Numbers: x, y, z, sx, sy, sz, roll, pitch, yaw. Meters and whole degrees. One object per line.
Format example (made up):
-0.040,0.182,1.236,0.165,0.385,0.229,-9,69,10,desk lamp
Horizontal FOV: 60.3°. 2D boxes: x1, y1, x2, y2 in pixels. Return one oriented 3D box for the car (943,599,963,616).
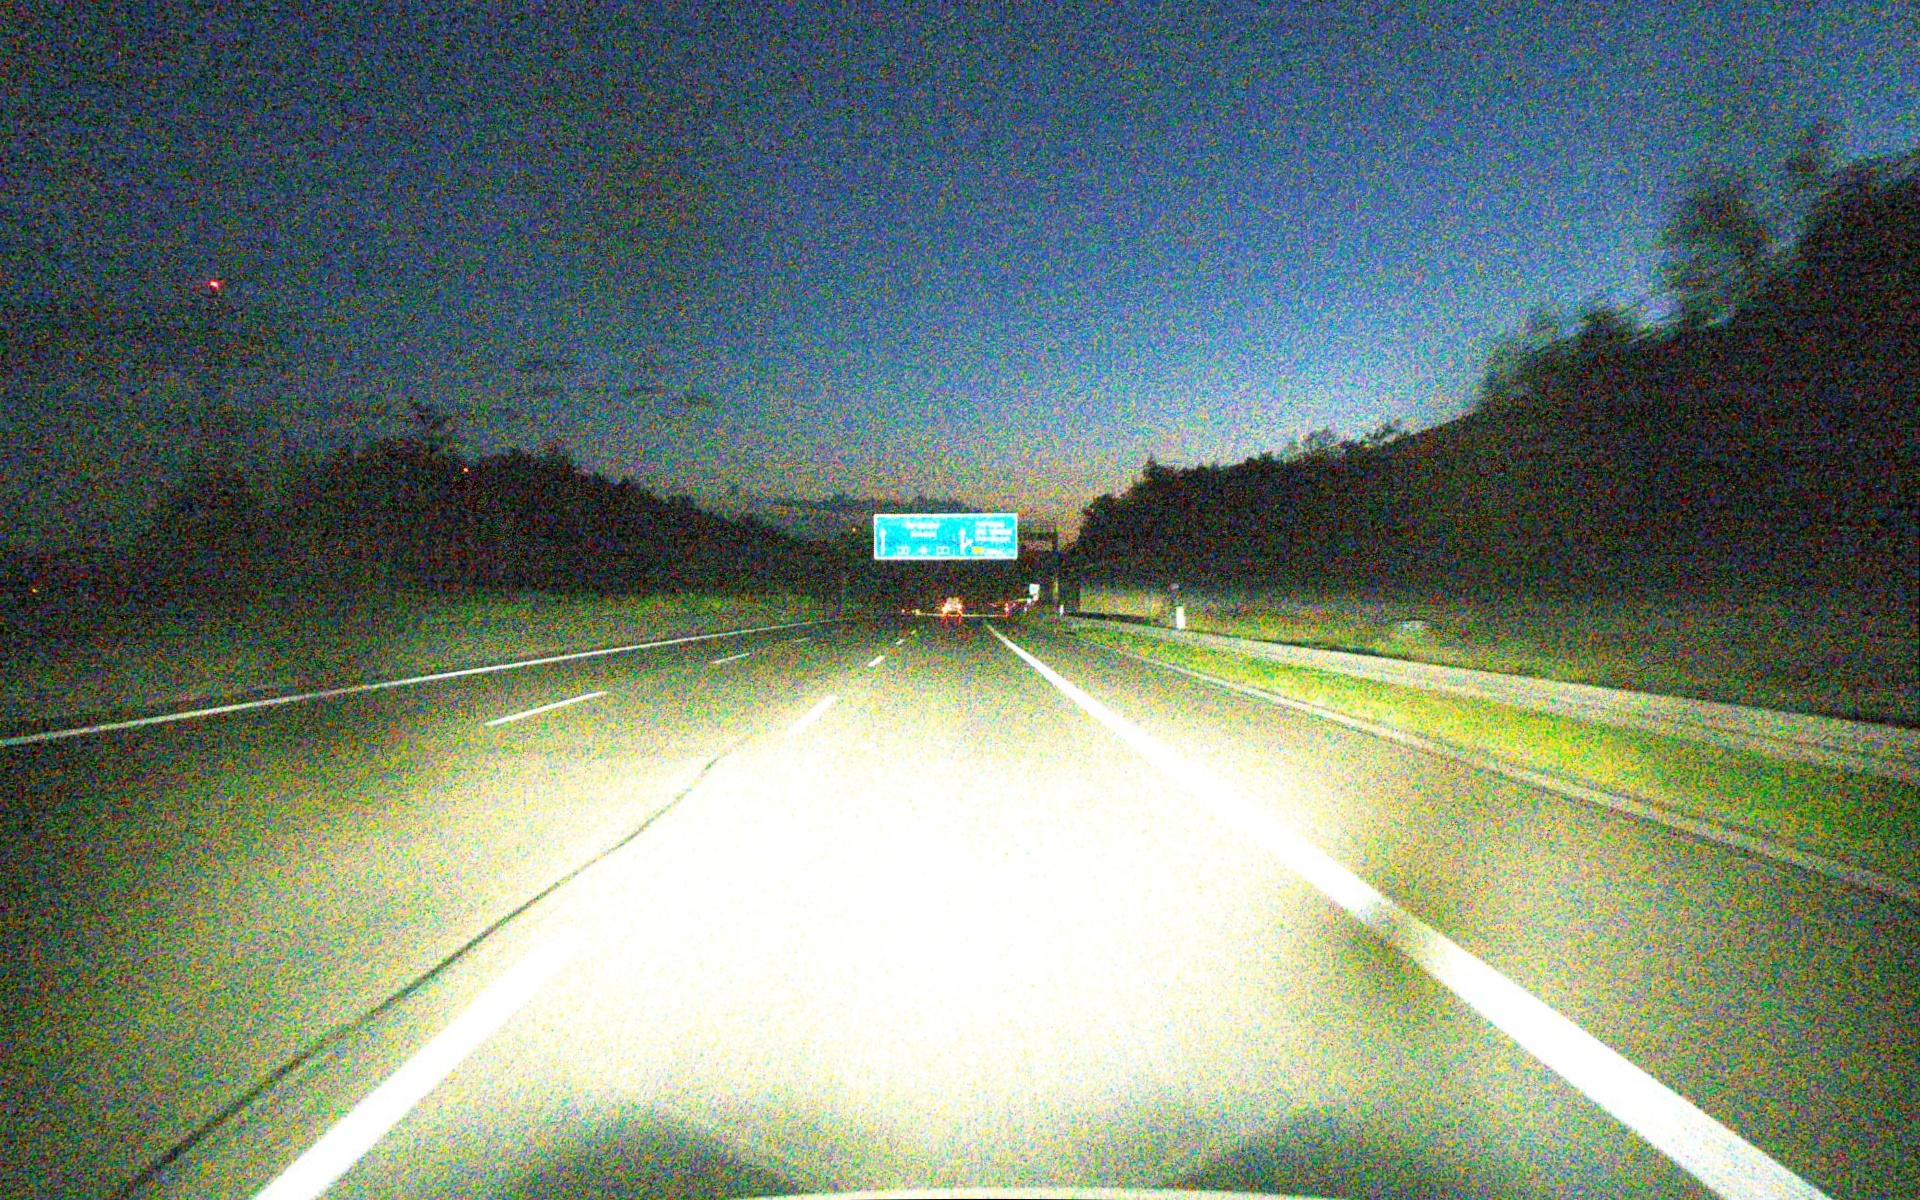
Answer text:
-0.943,1.062,232.809,2.458,2.354,4.972,0,-1,3,car
